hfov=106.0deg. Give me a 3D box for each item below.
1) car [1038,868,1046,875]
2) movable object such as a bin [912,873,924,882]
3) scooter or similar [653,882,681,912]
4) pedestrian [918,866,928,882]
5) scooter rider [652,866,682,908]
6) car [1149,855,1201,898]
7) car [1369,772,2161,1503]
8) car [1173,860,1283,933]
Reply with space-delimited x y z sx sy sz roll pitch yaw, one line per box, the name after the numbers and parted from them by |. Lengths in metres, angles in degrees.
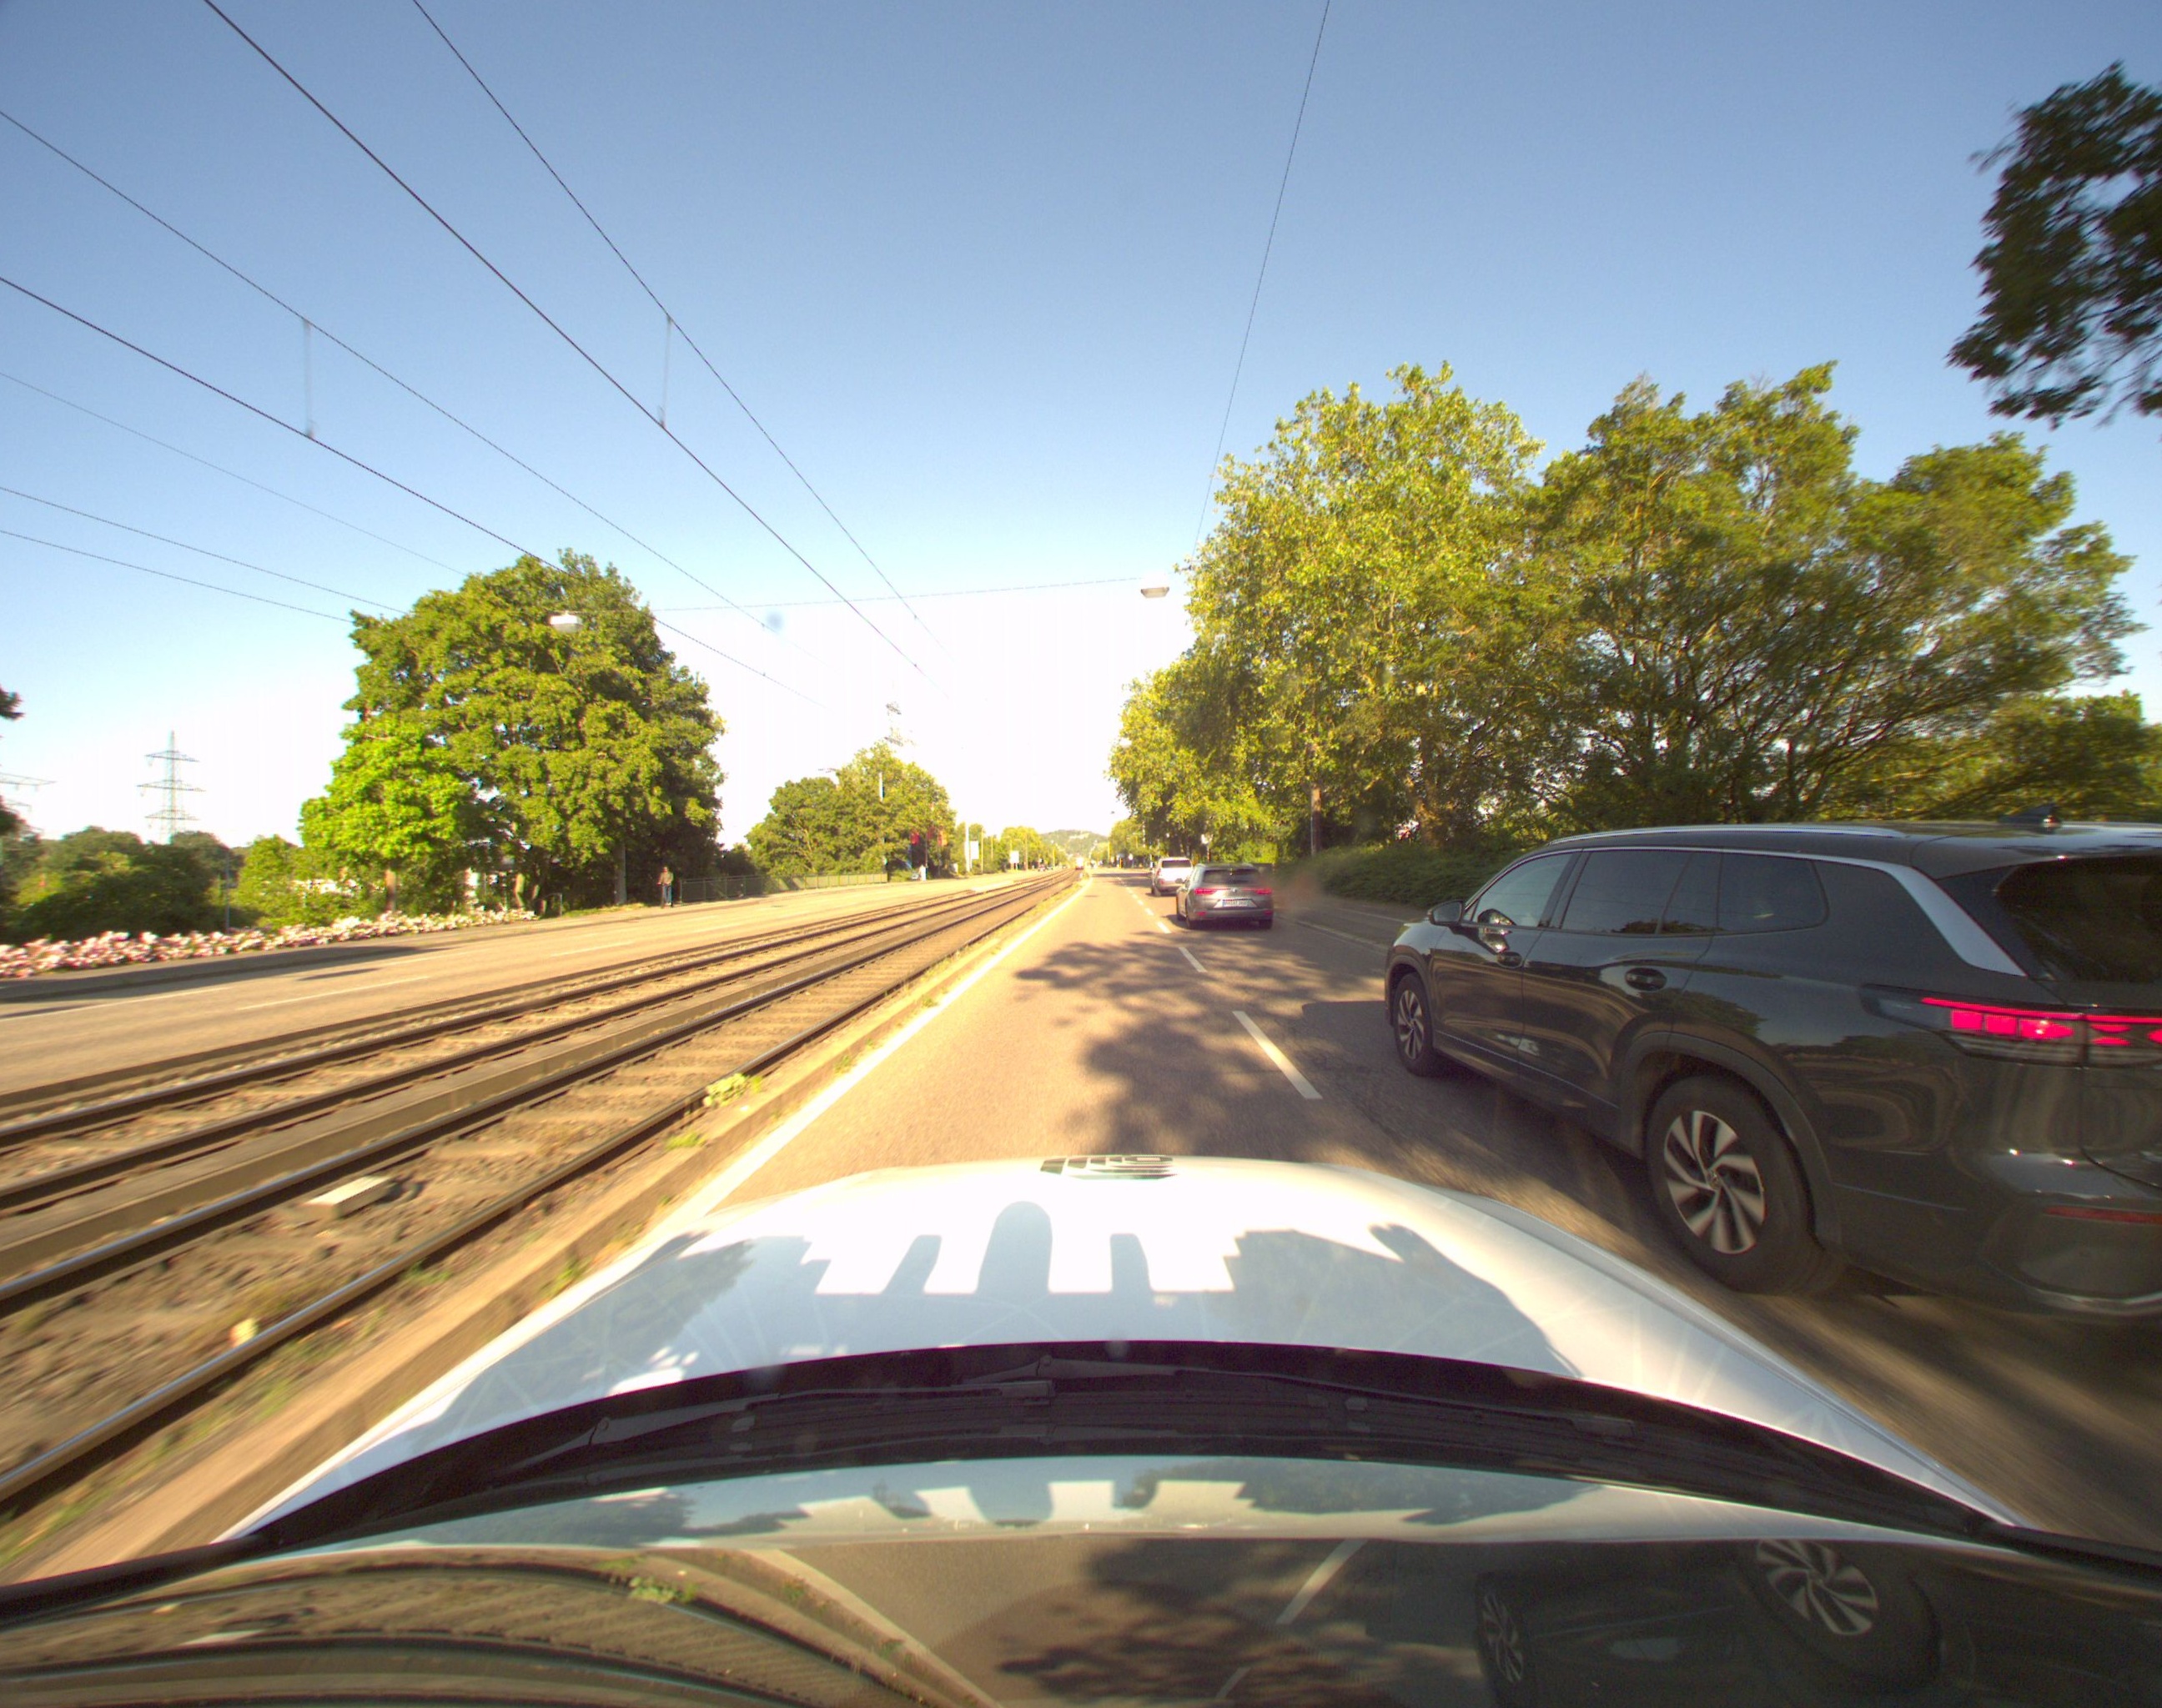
-9.807 4.424 204.272 1.856 1.720 4.000 -1 0 1 | car
-17.696 2.600 88.273 0.718 0.961 1.107 0 -2 23 | movable object such as a bin
-18.965 1.964 37.320 0.469 1.296 1.265 -2 -1 8 | scooter or similar
-17.307 2.233 89.180 0.718 1.756 0.840 0 -2 23 | pedestrian
-18.993 1.513 37.373 0.678 1.848 1.003 -2 -1 9 | scooter rider
4.104 0.950 36.025 1.877 1.796 4.000 1 0 1 | car
3.132 0.636 4.087 1.838 1.661 4.440 -2 0 1 | car
3.294 0.909 19.100 1.859 1.467 4.667 -1 -1 2 | car
